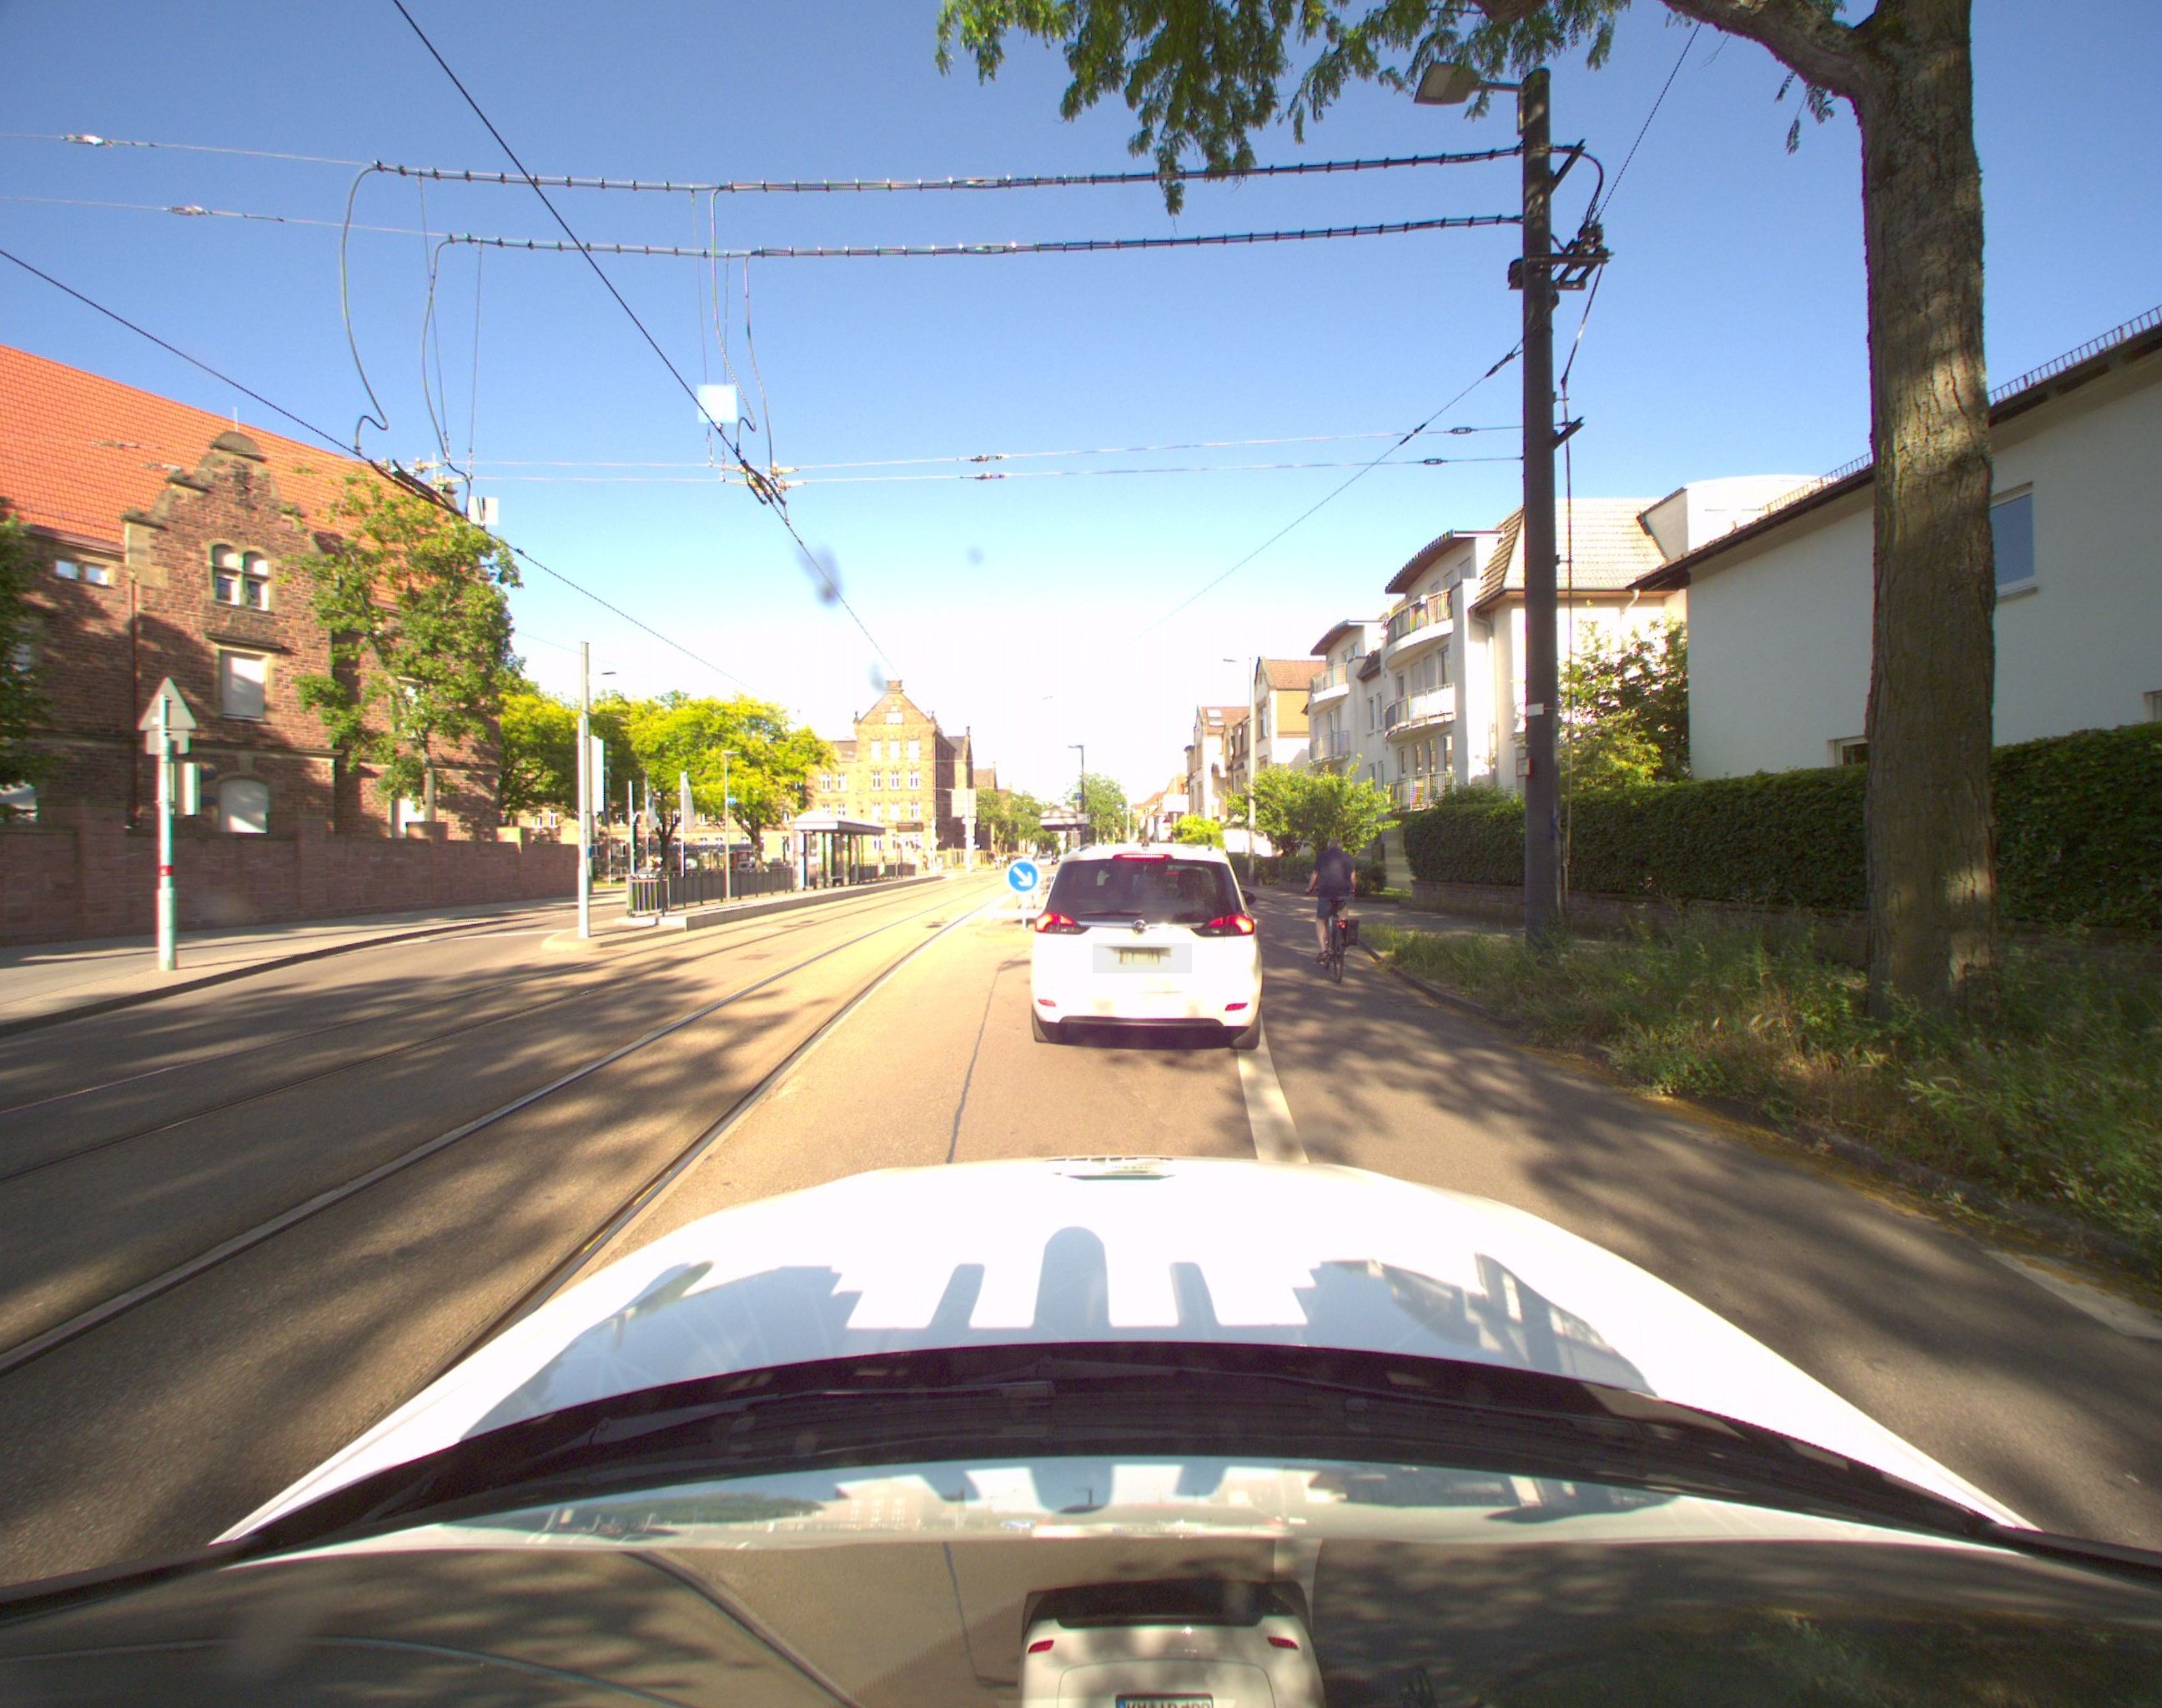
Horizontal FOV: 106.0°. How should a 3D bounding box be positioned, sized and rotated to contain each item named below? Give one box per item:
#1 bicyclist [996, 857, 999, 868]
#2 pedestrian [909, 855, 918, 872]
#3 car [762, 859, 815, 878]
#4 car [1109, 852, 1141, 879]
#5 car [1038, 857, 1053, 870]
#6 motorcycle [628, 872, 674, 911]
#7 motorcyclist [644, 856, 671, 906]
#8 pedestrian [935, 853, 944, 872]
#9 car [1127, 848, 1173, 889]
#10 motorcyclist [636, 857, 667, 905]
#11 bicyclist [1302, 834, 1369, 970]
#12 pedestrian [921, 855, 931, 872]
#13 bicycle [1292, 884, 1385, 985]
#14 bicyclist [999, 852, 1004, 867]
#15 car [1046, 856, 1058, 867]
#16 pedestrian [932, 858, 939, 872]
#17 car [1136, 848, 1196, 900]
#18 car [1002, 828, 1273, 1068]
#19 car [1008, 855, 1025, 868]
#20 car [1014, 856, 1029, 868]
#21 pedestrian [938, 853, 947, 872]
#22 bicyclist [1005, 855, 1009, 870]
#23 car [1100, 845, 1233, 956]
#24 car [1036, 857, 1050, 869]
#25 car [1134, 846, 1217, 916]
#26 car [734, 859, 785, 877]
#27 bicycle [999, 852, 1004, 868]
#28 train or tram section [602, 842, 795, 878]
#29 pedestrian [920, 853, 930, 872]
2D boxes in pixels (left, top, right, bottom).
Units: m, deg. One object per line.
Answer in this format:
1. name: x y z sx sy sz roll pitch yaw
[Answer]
1. bicyclist: -10.652 1.050 103.498 0.312 1.444 0.384 -1 0 1
2. pedestrian: -18.438 1.015 89.655 0.802 1.901 0.747 -1 -1 16
3. car: -25.437 1.232 70.972 3.976 1.630 1.817 0 -1 -2
4. car: 2.848 0.747 53.179 1.901 1.661 4.000 -1 0 0
5. car: -4.694 1.250 107.670 1.740 1.716 4.001 0 -1 2
6. motorcycle: -13.004 1.105 24.688 0.609 1.093 1.851 -1 0 -7
7. motorcyclist: -13.061 0.822 25.124 0.606 1.516 0.464 -1 0 -8
8. pedestrian: -15.543 0.928 89.535 0.801 2.014 0.713 0 -1 -35
9. car: 3.000 0.613 36.186 1.899 1.661 4.003 -1 0 3
10. motorcyclist: -13.002 0.807 24.654 0.683 1.440 0.445 -1 0 -8
11. bicyclist: 3.273 0.602 10.535 0.613 1.686 0.779 -1 0 2
12. pedestrian: -17.678 1.049 92.857 0.801 1.901 0.747 -1 -1 20
13. bicycle: 3.290 0.983 10.564 0.621 1.097 1.974 -1 0 2
14. bicyclist: -10.671 0.677 109.473 0.496 2.013 0.572 -1 0 1
15. car: -4.586 1.175 129.395 1.740 1.716 4.001 0 -1 2
16. pedestrian: -17.108 1.249 95.928 0.651 1.612 0.712 0 -1 4
17. car: 2.978 0.649 28.342 1.897 1.661 4.007 -1 0 6
18. car: 0.697 0.662 7.753 1.896 1.661 4.010 -1 0 9
19. car: -8.485 1.024 107.451 1.740 1.716 4.001 0 -1 2
20. car: -8.316 1.109 114.118 1.740 1.716 4.001 0 -1 2
21. pedestrian: -14.541 0.861 85.515 0.796 2.014 0.717 0 -1 -15
22. bicyclist: -10.222 1.215 112.376 0.486 2.014 0.502 0 -1 1
23. car: 1.559 0.684 13.865 1.896 1.597 4.010 -1 0 9
24. car: -5.356 1.281 115.549 1.740 1.716 4.001 0 -1 2
25. car: 2.522 0.636 21.071 1.896 1.624 4.010 -1 0 9
26. car: -29.644 1.308 75.216 3.976 1.630 1.817 0 -1 -2
27. bicycle: -10.667 0.800 109.449 0.485 2.013 1.406 -1 0 2
28. train or tram section: -37.834 0.568 81.149 17.346 3.154 3.344 -1 -1 -3
29. pedestrian: -17.051 0.934 88.949 0.800 2.014 0.713 0 -1 -32
